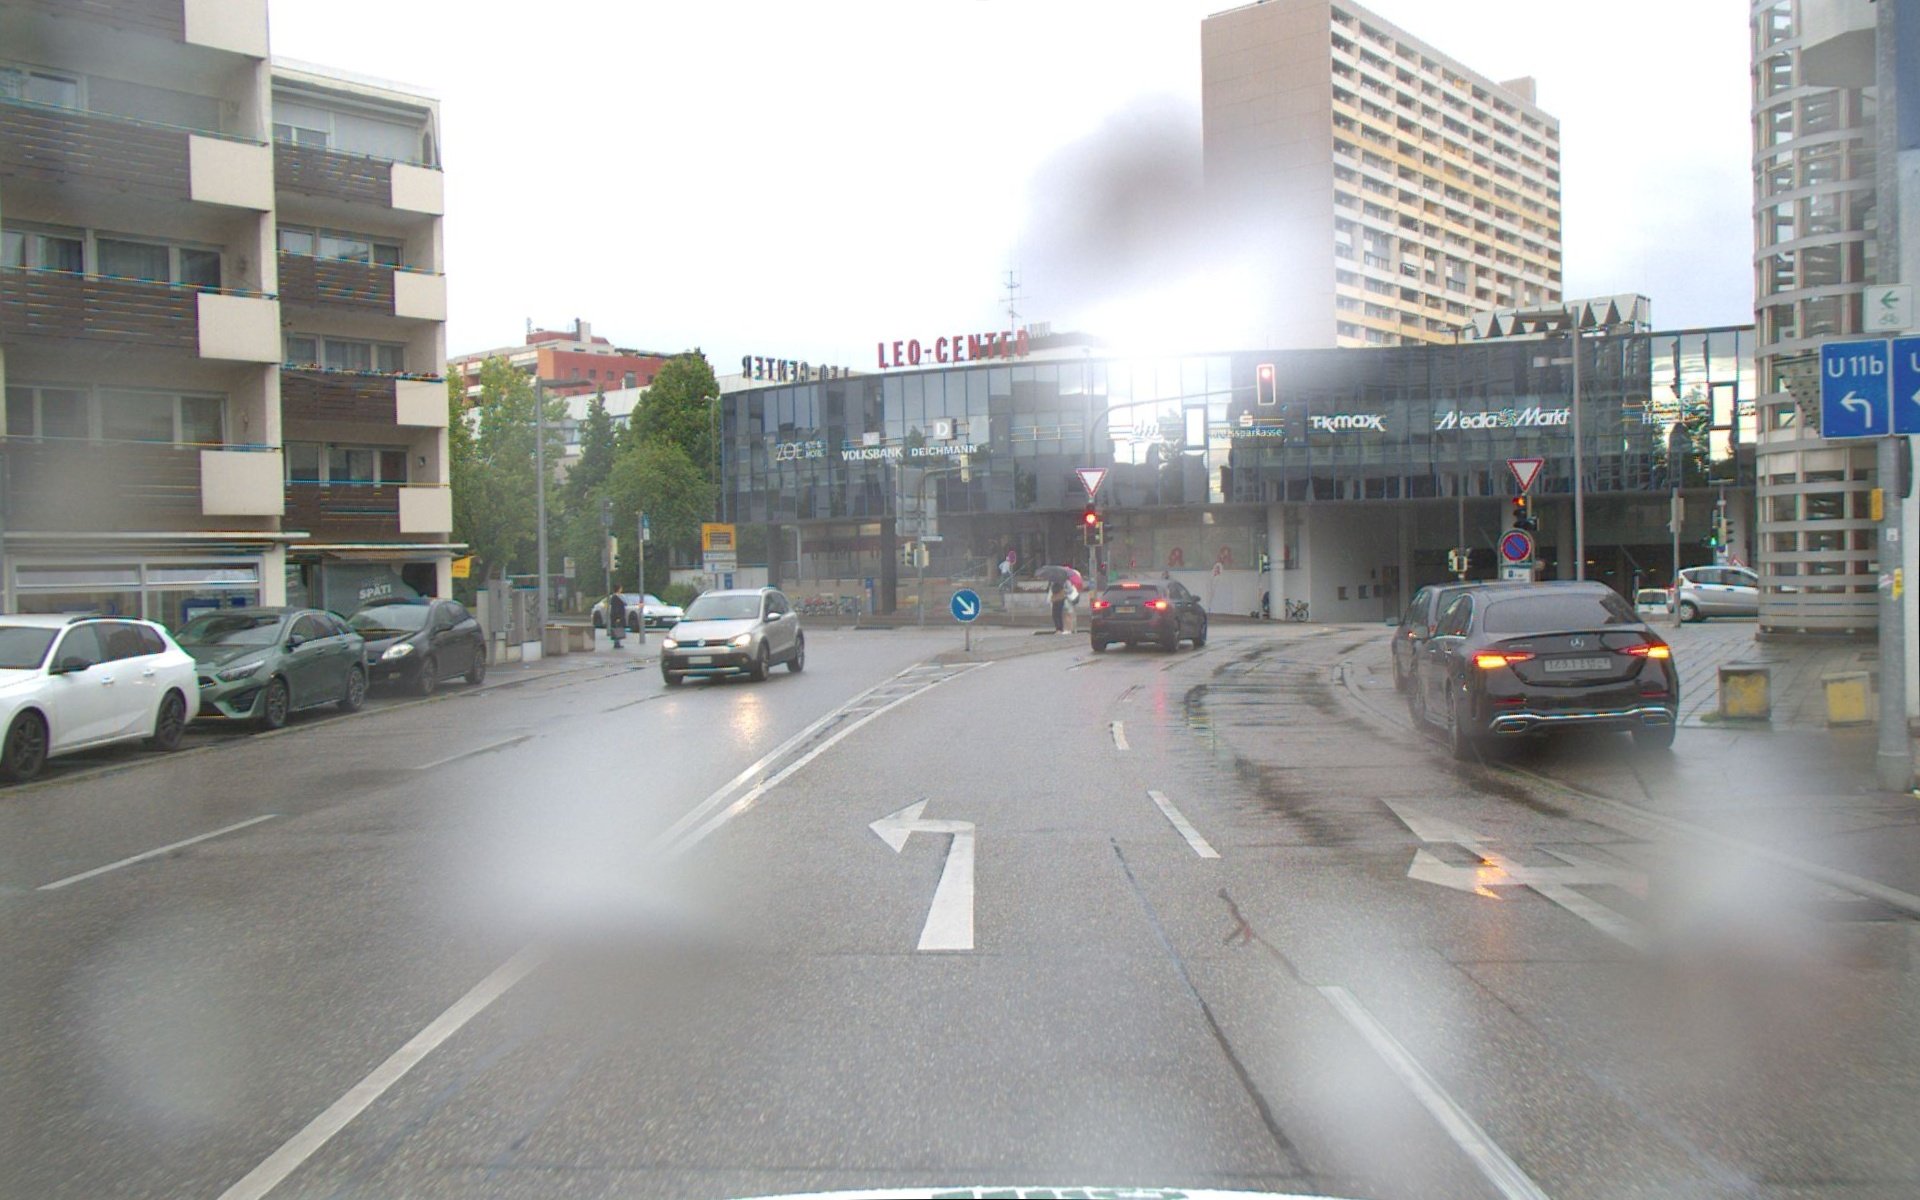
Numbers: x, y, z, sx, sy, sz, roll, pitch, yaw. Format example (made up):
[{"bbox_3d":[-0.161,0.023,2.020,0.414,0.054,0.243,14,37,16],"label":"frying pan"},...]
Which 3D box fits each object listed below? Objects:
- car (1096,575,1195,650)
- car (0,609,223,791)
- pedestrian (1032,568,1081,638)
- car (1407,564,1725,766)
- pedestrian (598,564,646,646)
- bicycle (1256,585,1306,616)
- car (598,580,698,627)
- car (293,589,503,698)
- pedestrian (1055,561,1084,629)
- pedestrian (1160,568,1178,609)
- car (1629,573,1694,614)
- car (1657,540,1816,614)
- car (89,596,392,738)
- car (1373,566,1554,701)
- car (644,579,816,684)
[{"bbox_3d":[3.930,0.221,34.605,1.766,1.444,4.004,-1,1,10],"label":"car"},{"bbox_3d":[-9.144,0.898,16.225,1.658,1.489,4.685,-1,1,1],"label":"car"},{"bbox_3d":[2.412,0.075,41.448,0.898,1.688,0.749,2,2,-27],"label":"pedestrian"},{"bbox_3d":[5.352,0.524,15.247,1.951,1.560,4.651,0,0,10],"label":"car"},{"bbox_3d":[-8.611,0.126,42.119,0.733,2.048,0.921,3,0,21],"label":"pedestrian"},{"bbox_3d":[15.937,0.000,82.187,2.375,1.489,0.656,-1,2,-2],"label":"bicycle"},{"bbox_3d":[-11.844,0.119,62.560,1.978,1.538,4.377,1,2,-37],"label":"car"},{"bbox_3d":[-9.028,0.643,26.962,1.895,1.568,4.273,-1,1,1],"label":"car"},{"bbox_3d":[2.801,-0.134,42.301,0.597,1.688,0.672,2,1,-5],"label":"pedestrian"},{"bbox_3d":[10.461,-0.567,82.765,0.770,2.049,0.671,-2,0,11],"label":"pedestrian"},{"bbox_3d":[32.011,-0.289,75.405,1.959,1.747,3.987,-1,1,35],"label":"car"},{"bbox_3d":[22.349,-0.652,47.645,3.916,2.049,1.995,-1,1,33],"label":"car"},{"bbox_3d":[-9.159,0.776,21.534,1.895,1.568,4.521,-1,1,1],"label":"car"},{"bbox_3d":[6.564,0.369,21.926,1.662,1.511,4.004,-4,0,9],"label":"car"},{"bbox_3d":[-3.753,0.469,27.680,1.786,1.464,3.845,-3,1,8],"label":"car"}]
